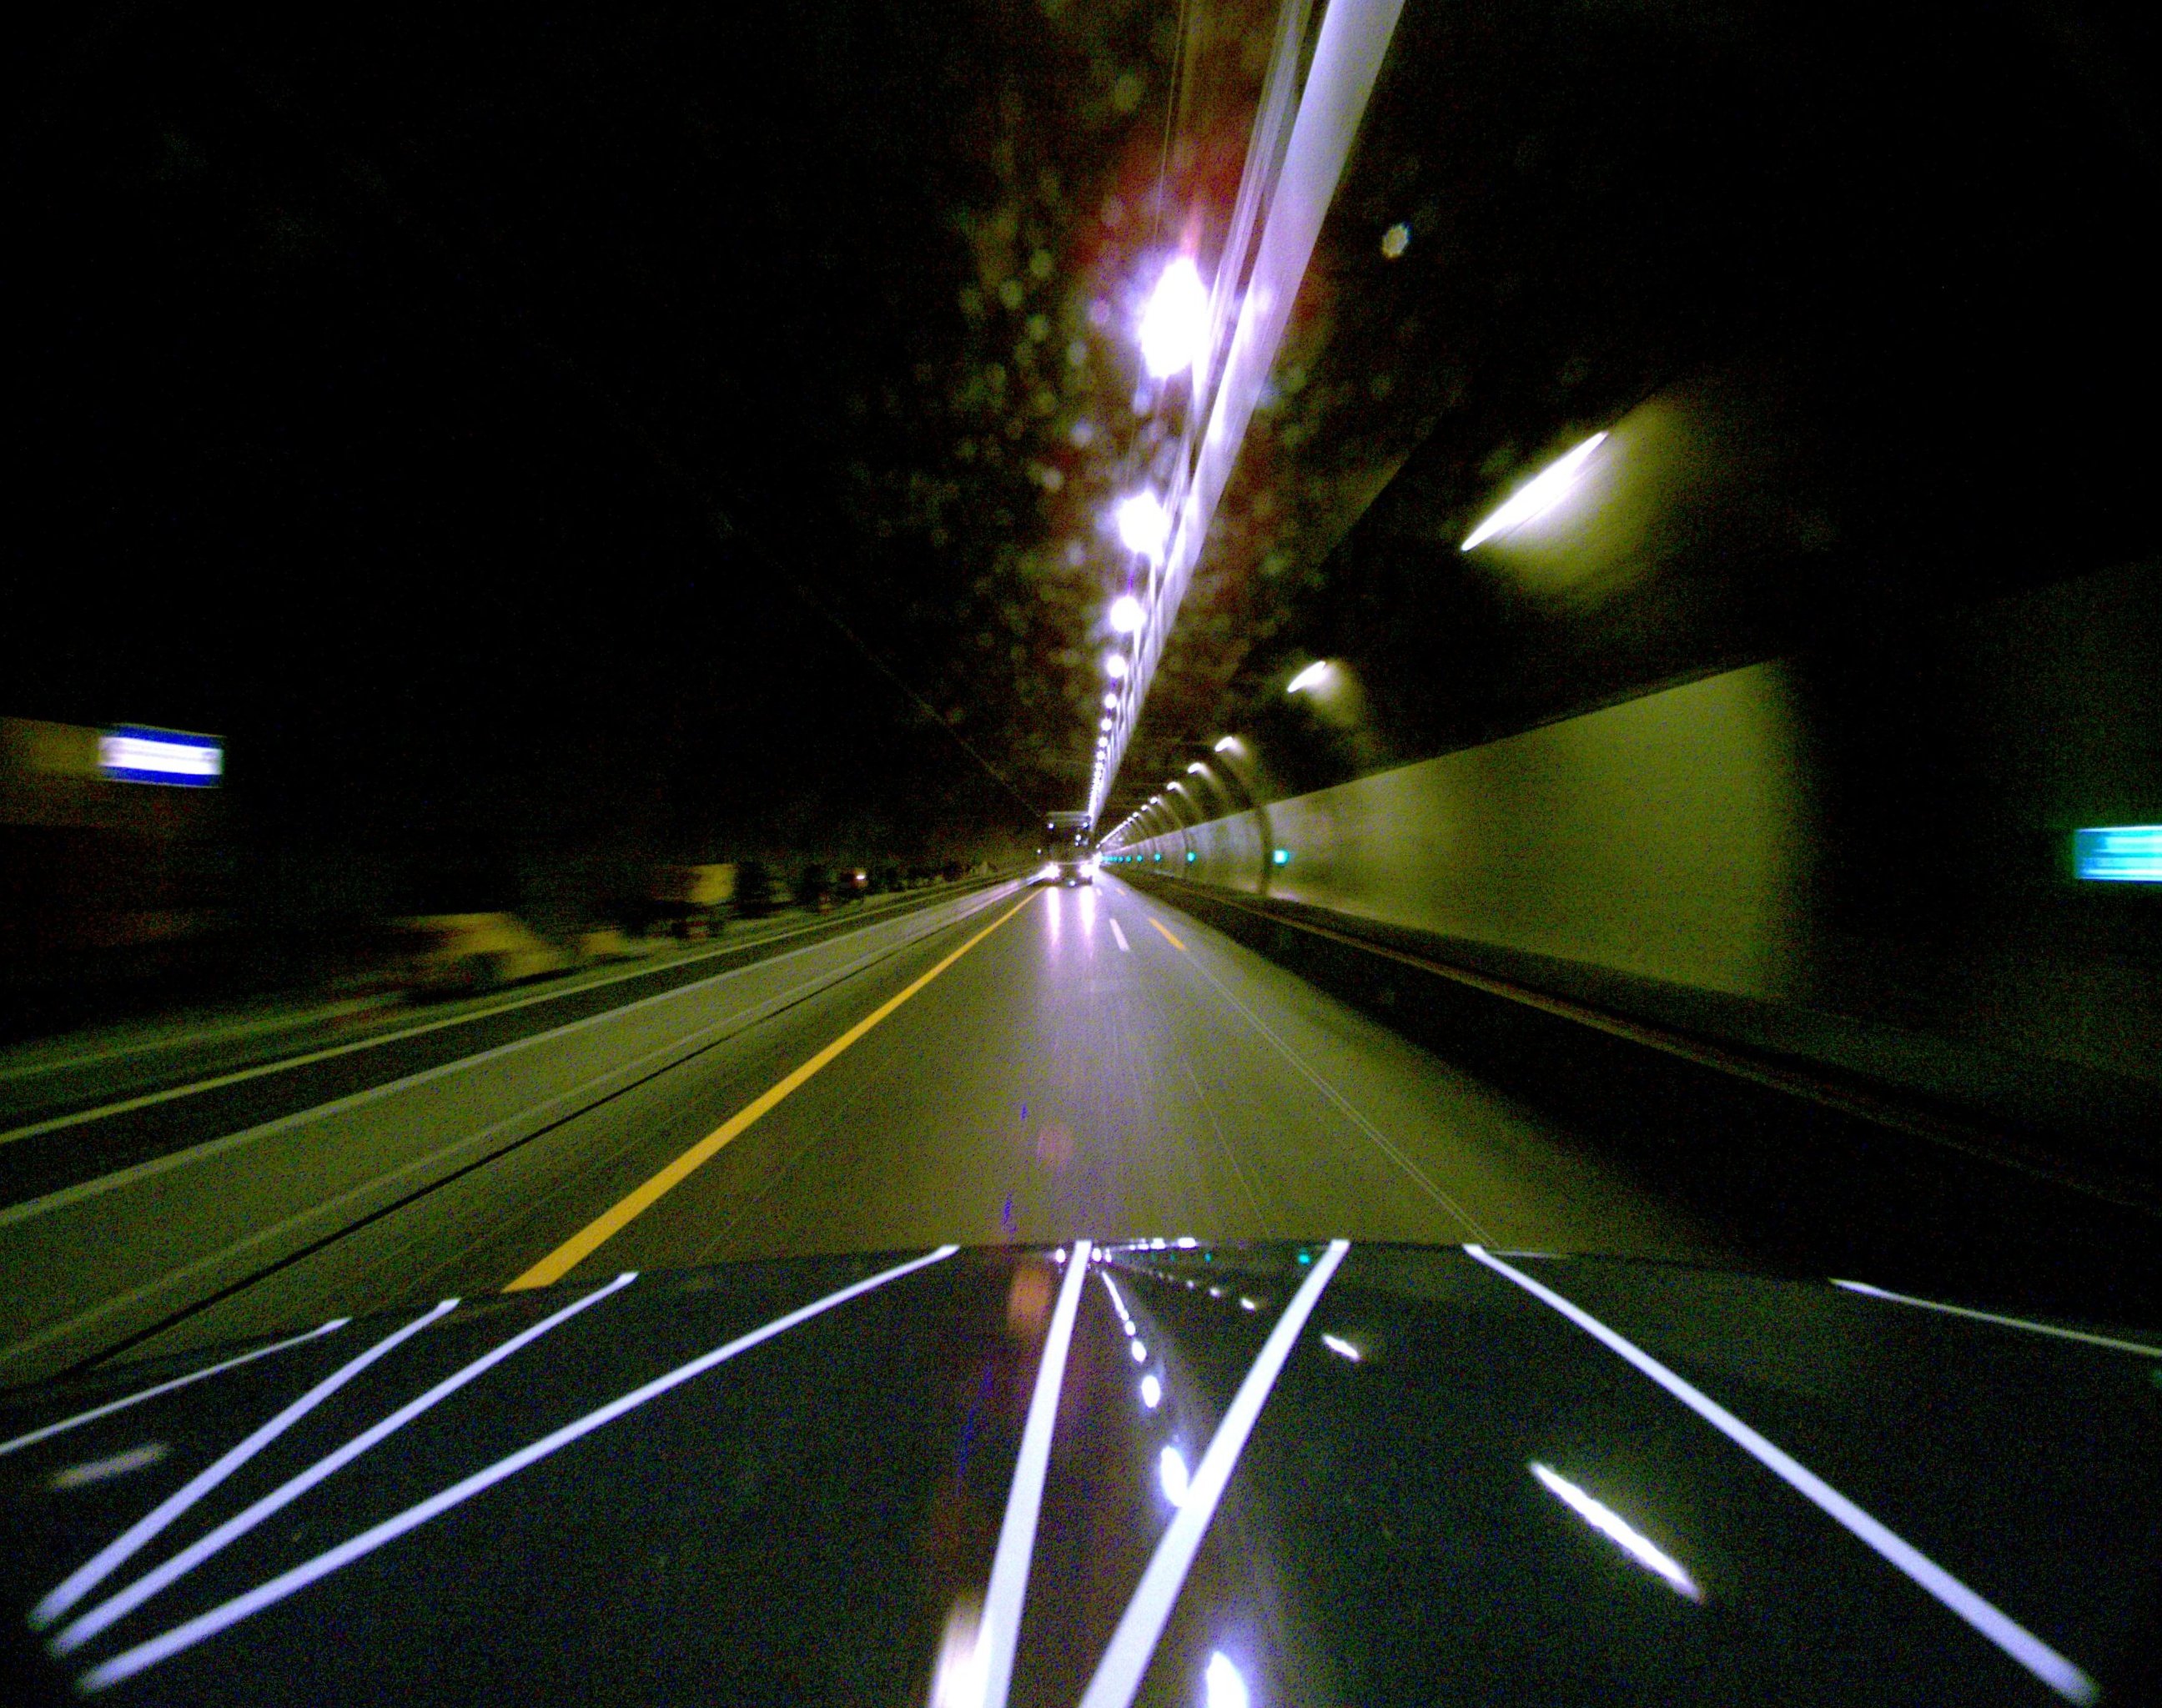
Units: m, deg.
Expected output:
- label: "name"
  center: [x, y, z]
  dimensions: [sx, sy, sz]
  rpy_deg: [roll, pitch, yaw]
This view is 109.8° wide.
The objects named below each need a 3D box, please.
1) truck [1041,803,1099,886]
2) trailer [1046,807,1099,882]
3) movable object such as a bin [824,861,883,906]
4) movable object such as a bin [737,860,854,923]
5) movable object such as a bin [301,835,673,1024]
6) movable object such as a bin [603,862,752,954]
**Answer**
- label: "truck"
  center: [-0.533, -0.527, 44.206]
  dimensions: [2.951, 4.338, 6.675]
  rpy_deg: [-3, 1, 1]
- label: "trailer"
  center: [-0.455, -0.592, 50.057]
  dimensions: [2.939, 4.316, 10.051]
  rpy_deg: [-3, 1, 1]
- label: "movable object such as a bin"
  center: [-8.638, 1.083, 29.087]
  dimensions: [1.306, 1.584, 3.055]
  rpy_deg: [1, 0, 0]
- label: "movable object such as a bin"
  center: [-8.592, 1.056, 23.326]
  dimensions: [1.865, 1.665, 4.501]
  rpy_deg: [1, 0, 0]
- label: "movable object such as a bin"
  center: [-8.143, 0.857, 11.147]
  dimensions: [1.688, 2.133, 4.627]
  rpy_deg: [-3, 1, 0]
- label: "movable object such as a bin"
  center: [-8.700, 1.086, 16.670]
  dimensions: [1.560, 1.699, 3.054]
  rpy_deg: [-3, 1, 0]
